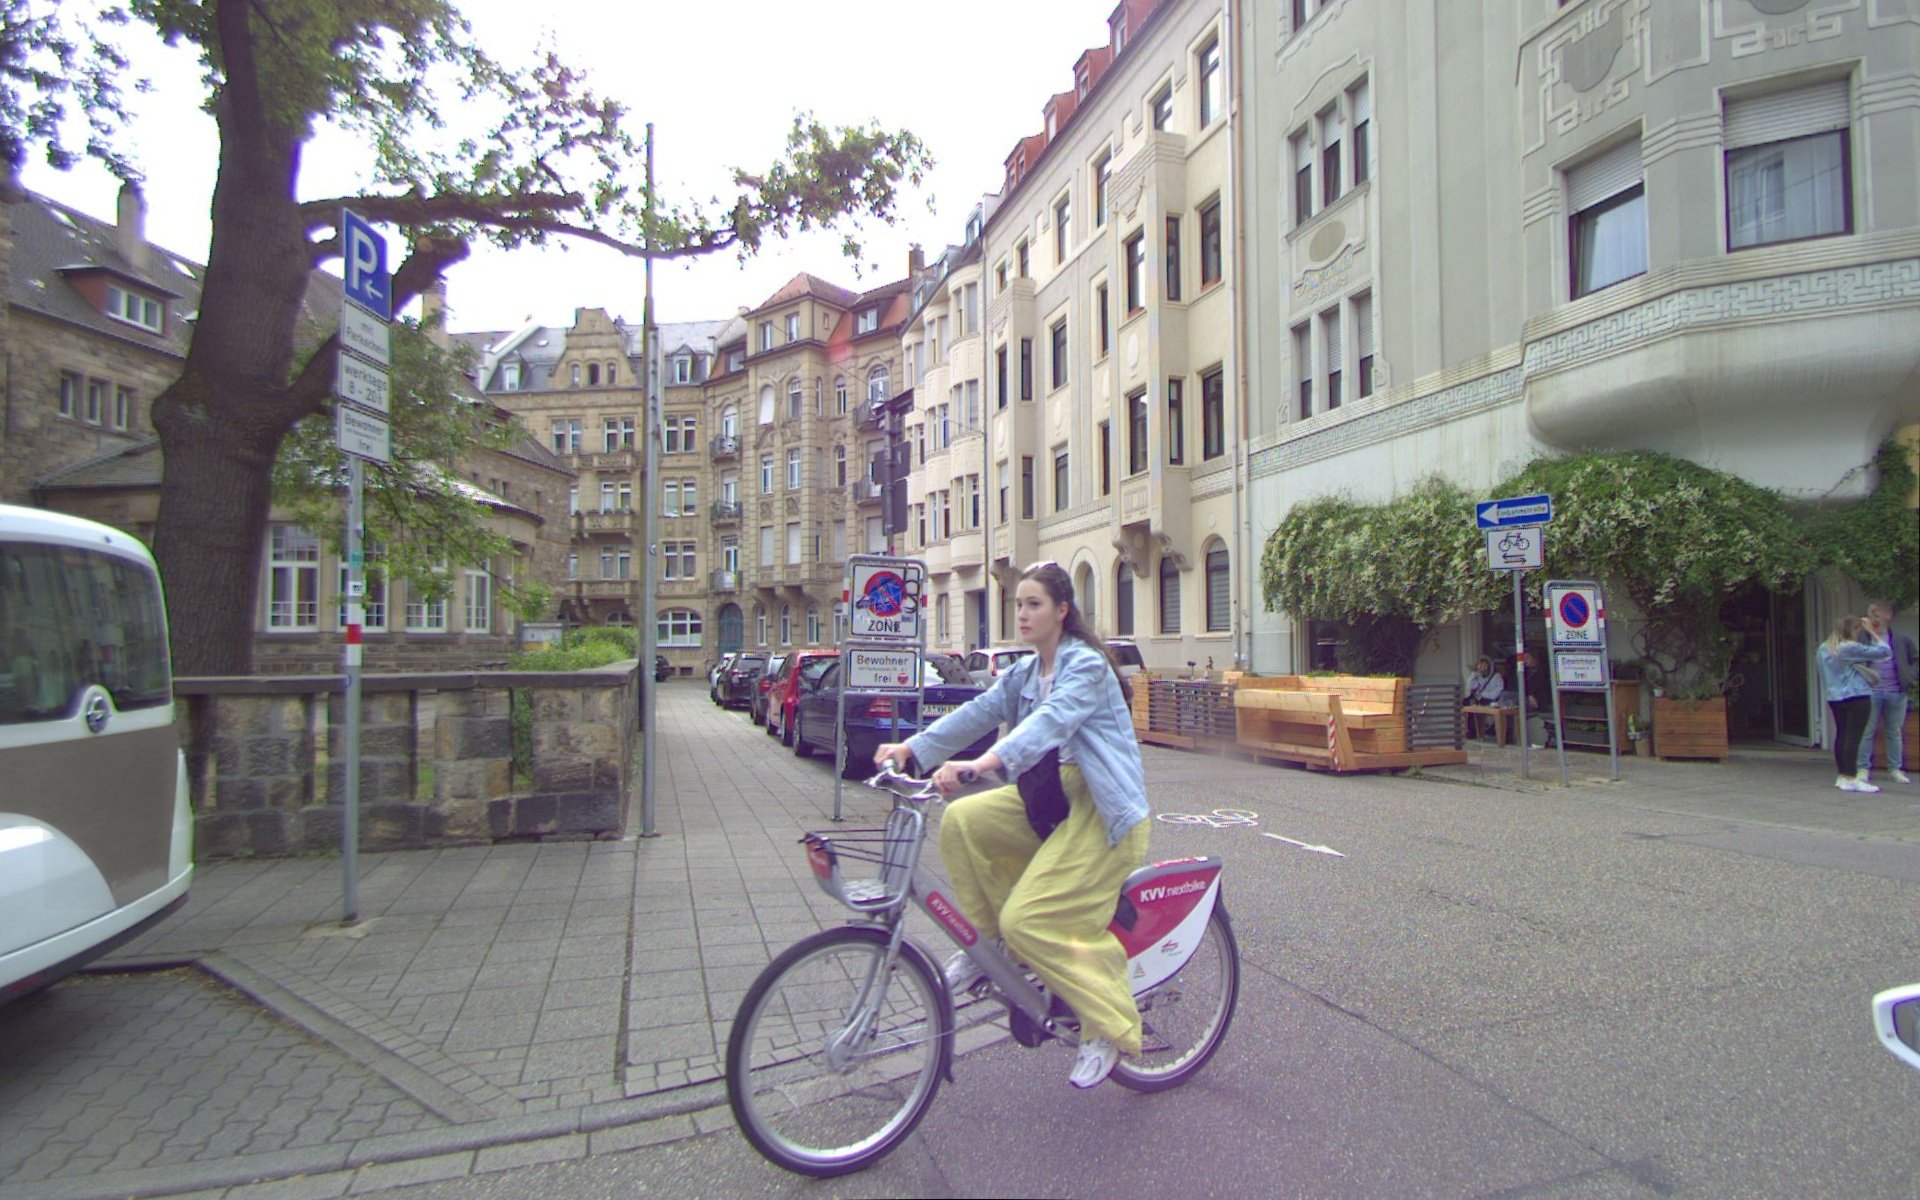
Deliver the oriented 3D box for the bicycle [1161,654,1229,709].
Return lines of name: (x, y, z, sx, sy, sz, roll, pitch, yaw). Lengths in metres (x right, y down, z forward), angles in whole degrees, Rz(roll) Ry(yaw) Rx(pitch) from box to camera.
bicycle: (5.030, 1.730, 21.627, 0.712, 1.112, 1.744, 0, -2, -13)

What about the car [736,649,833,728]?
car: (-3.795, 1.807, 21.349, 1.449, 1.502, 3.489, 2, -3, -19)

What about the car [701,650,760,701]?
car: (-7.431, 2.394, 32.340, 1.449, 1.502, 3.350, 2, -3, -19)

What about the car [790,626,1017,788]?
car: (-0.876, 1.211, 12.379, 1.741, 1.627, 4.055, 1, -3, -19)

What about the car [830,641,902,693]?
car: (-3.949, 2.762, 41.293, 2.014, 1.911, 4.566, -2, -3, -17)

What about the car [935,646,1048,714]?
car: (0.752, 2.082, 26.655, 1.672, 1.577, 3.815, -2, -3, -19)

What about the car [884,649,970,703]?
car: (-1.139, 2.445, 32.578, 1.672, 1.577, 3.815, -2, -3, -19)

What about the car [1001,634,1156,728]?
car: (2.422, 1.695, 21.565, 1.740, 1.739, 3.815, -2, -3, -19)

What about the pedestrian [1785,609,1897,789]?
pedestrian: (8.553, 0.941, 9.775, 0.564, 1.682, 0.580, 1, -2, 4)

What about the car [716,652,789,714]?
car: (-5.599, 2.170, 26.849, 1.449, 1.502, 3.350, 2, -3, -19)

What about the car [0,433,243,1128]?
car: (-5.040, 0.528, 2.860, 4.473, 1.965, 1.843, 0, -2, -16)

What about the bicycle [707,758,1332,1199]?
bicycle: (0.247, 1.029, 2.973, 1.842, 0.990, 0.533, 2, -3, -29)

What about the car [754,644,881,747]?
car: (-2.437, 1.491, 16.582, 1.449, 1.502, 3.350, 2, -3, -19)

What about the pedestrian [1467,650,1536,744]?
pedestrian: (7.309, 1.293, 13.575, 0.546, 1.213, 0.578, 0, -2, -18)

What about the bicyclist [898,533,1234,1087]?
bicyclist: (0.312, 0.559, 3.070, 0.774, 1.417, 0.665, 2, -3, -29)

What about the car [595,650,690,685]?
car: (-15.382, 3.250, 48.747, 3.988, 1.627, 1.770, 0, -3, 10)

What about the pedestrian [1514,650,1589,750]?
pedestrian: (7.544, 1.258, 12.818, 0.546, 1.213, 0.578, 0, -2, -18)

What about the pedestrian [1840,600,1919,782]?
pedestrian: (9.252, 0.896, 10.078, 0.571, 1.757, 0.504, -1, -3, 37)
